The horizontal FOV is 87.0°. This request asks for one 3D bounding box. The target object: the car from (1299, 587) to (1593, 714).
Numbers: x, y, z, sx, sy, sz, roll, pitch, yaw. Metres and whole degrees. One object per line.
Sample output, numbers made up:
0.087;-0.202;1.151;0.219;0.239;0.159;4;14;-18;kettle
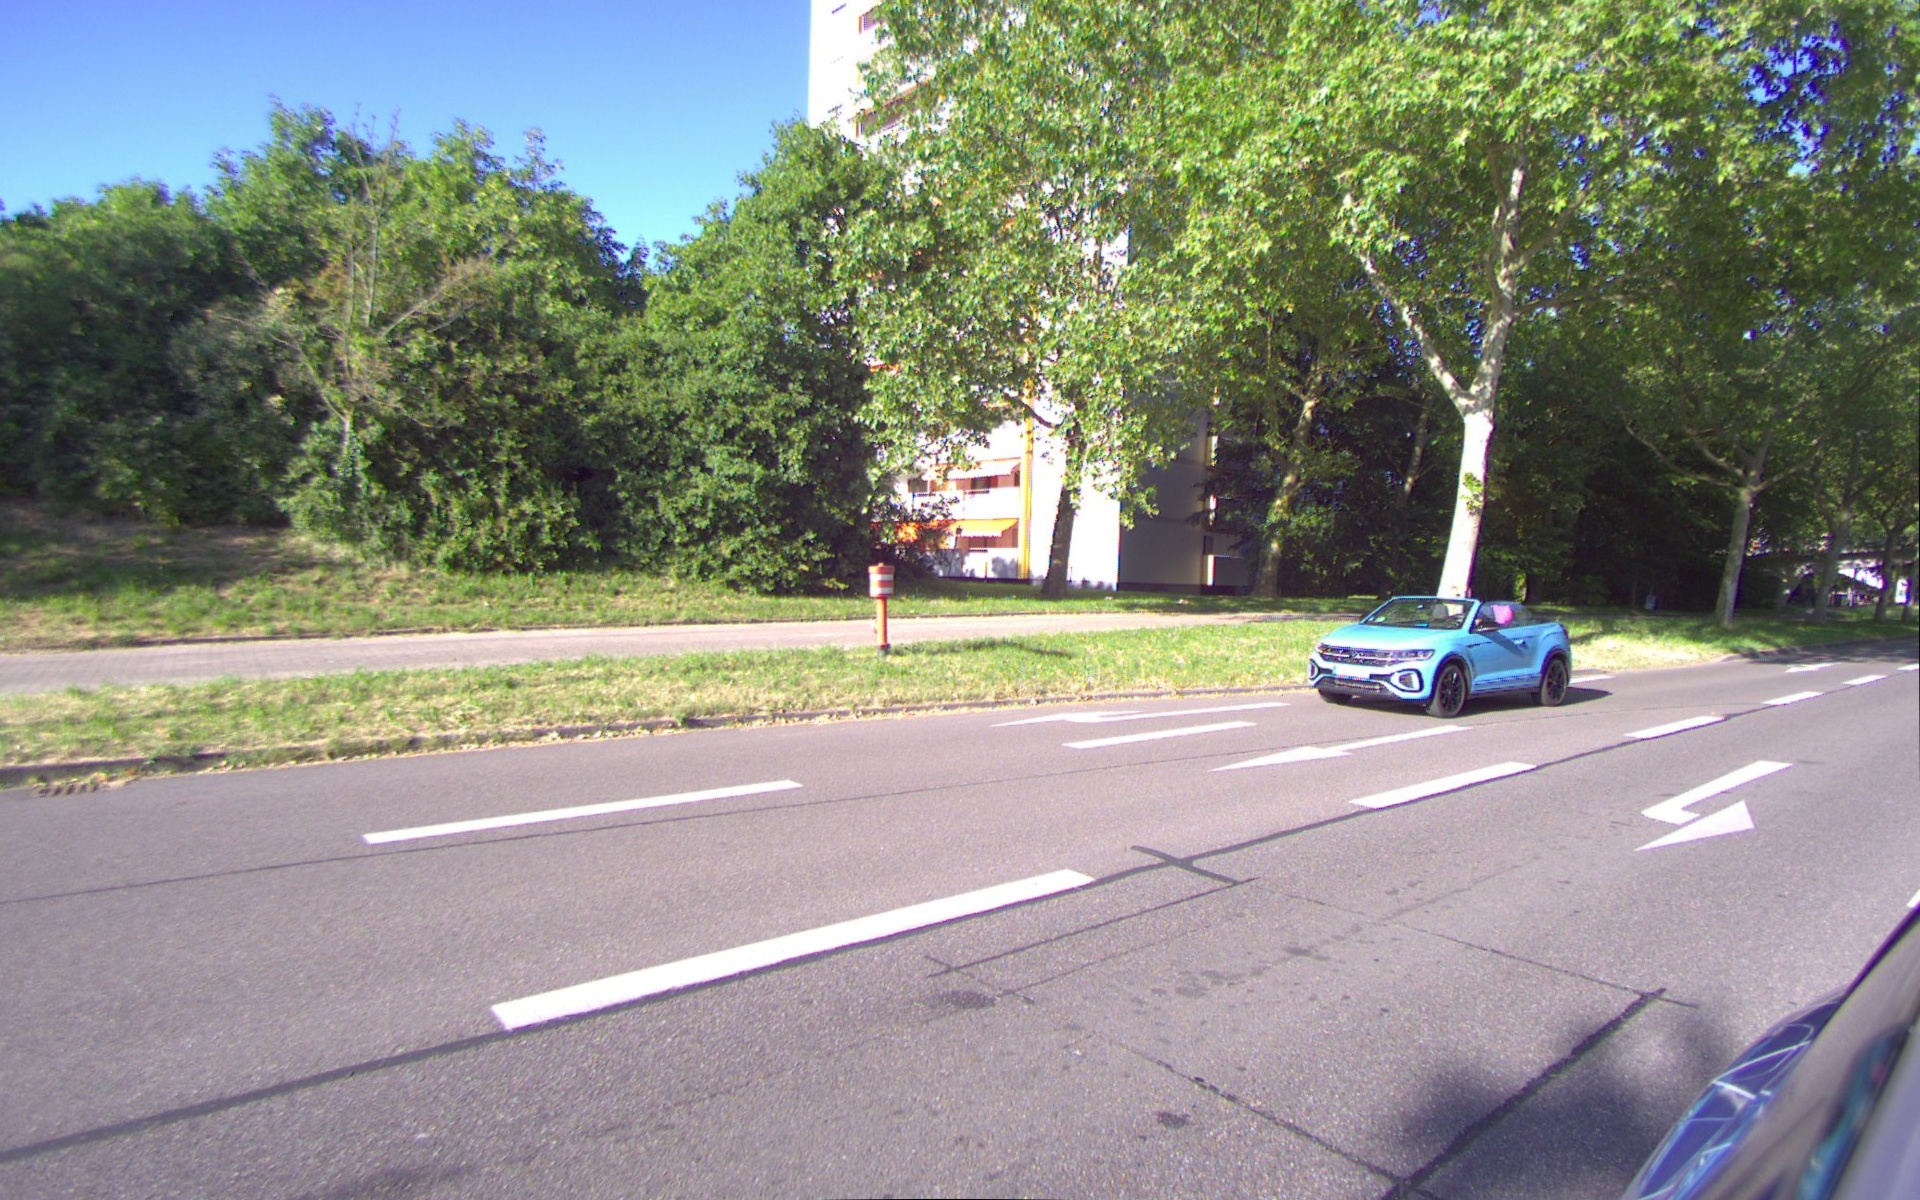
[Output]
6.611;0.573;13.650;4.052;1.468;1.740;0;1;-34;car
